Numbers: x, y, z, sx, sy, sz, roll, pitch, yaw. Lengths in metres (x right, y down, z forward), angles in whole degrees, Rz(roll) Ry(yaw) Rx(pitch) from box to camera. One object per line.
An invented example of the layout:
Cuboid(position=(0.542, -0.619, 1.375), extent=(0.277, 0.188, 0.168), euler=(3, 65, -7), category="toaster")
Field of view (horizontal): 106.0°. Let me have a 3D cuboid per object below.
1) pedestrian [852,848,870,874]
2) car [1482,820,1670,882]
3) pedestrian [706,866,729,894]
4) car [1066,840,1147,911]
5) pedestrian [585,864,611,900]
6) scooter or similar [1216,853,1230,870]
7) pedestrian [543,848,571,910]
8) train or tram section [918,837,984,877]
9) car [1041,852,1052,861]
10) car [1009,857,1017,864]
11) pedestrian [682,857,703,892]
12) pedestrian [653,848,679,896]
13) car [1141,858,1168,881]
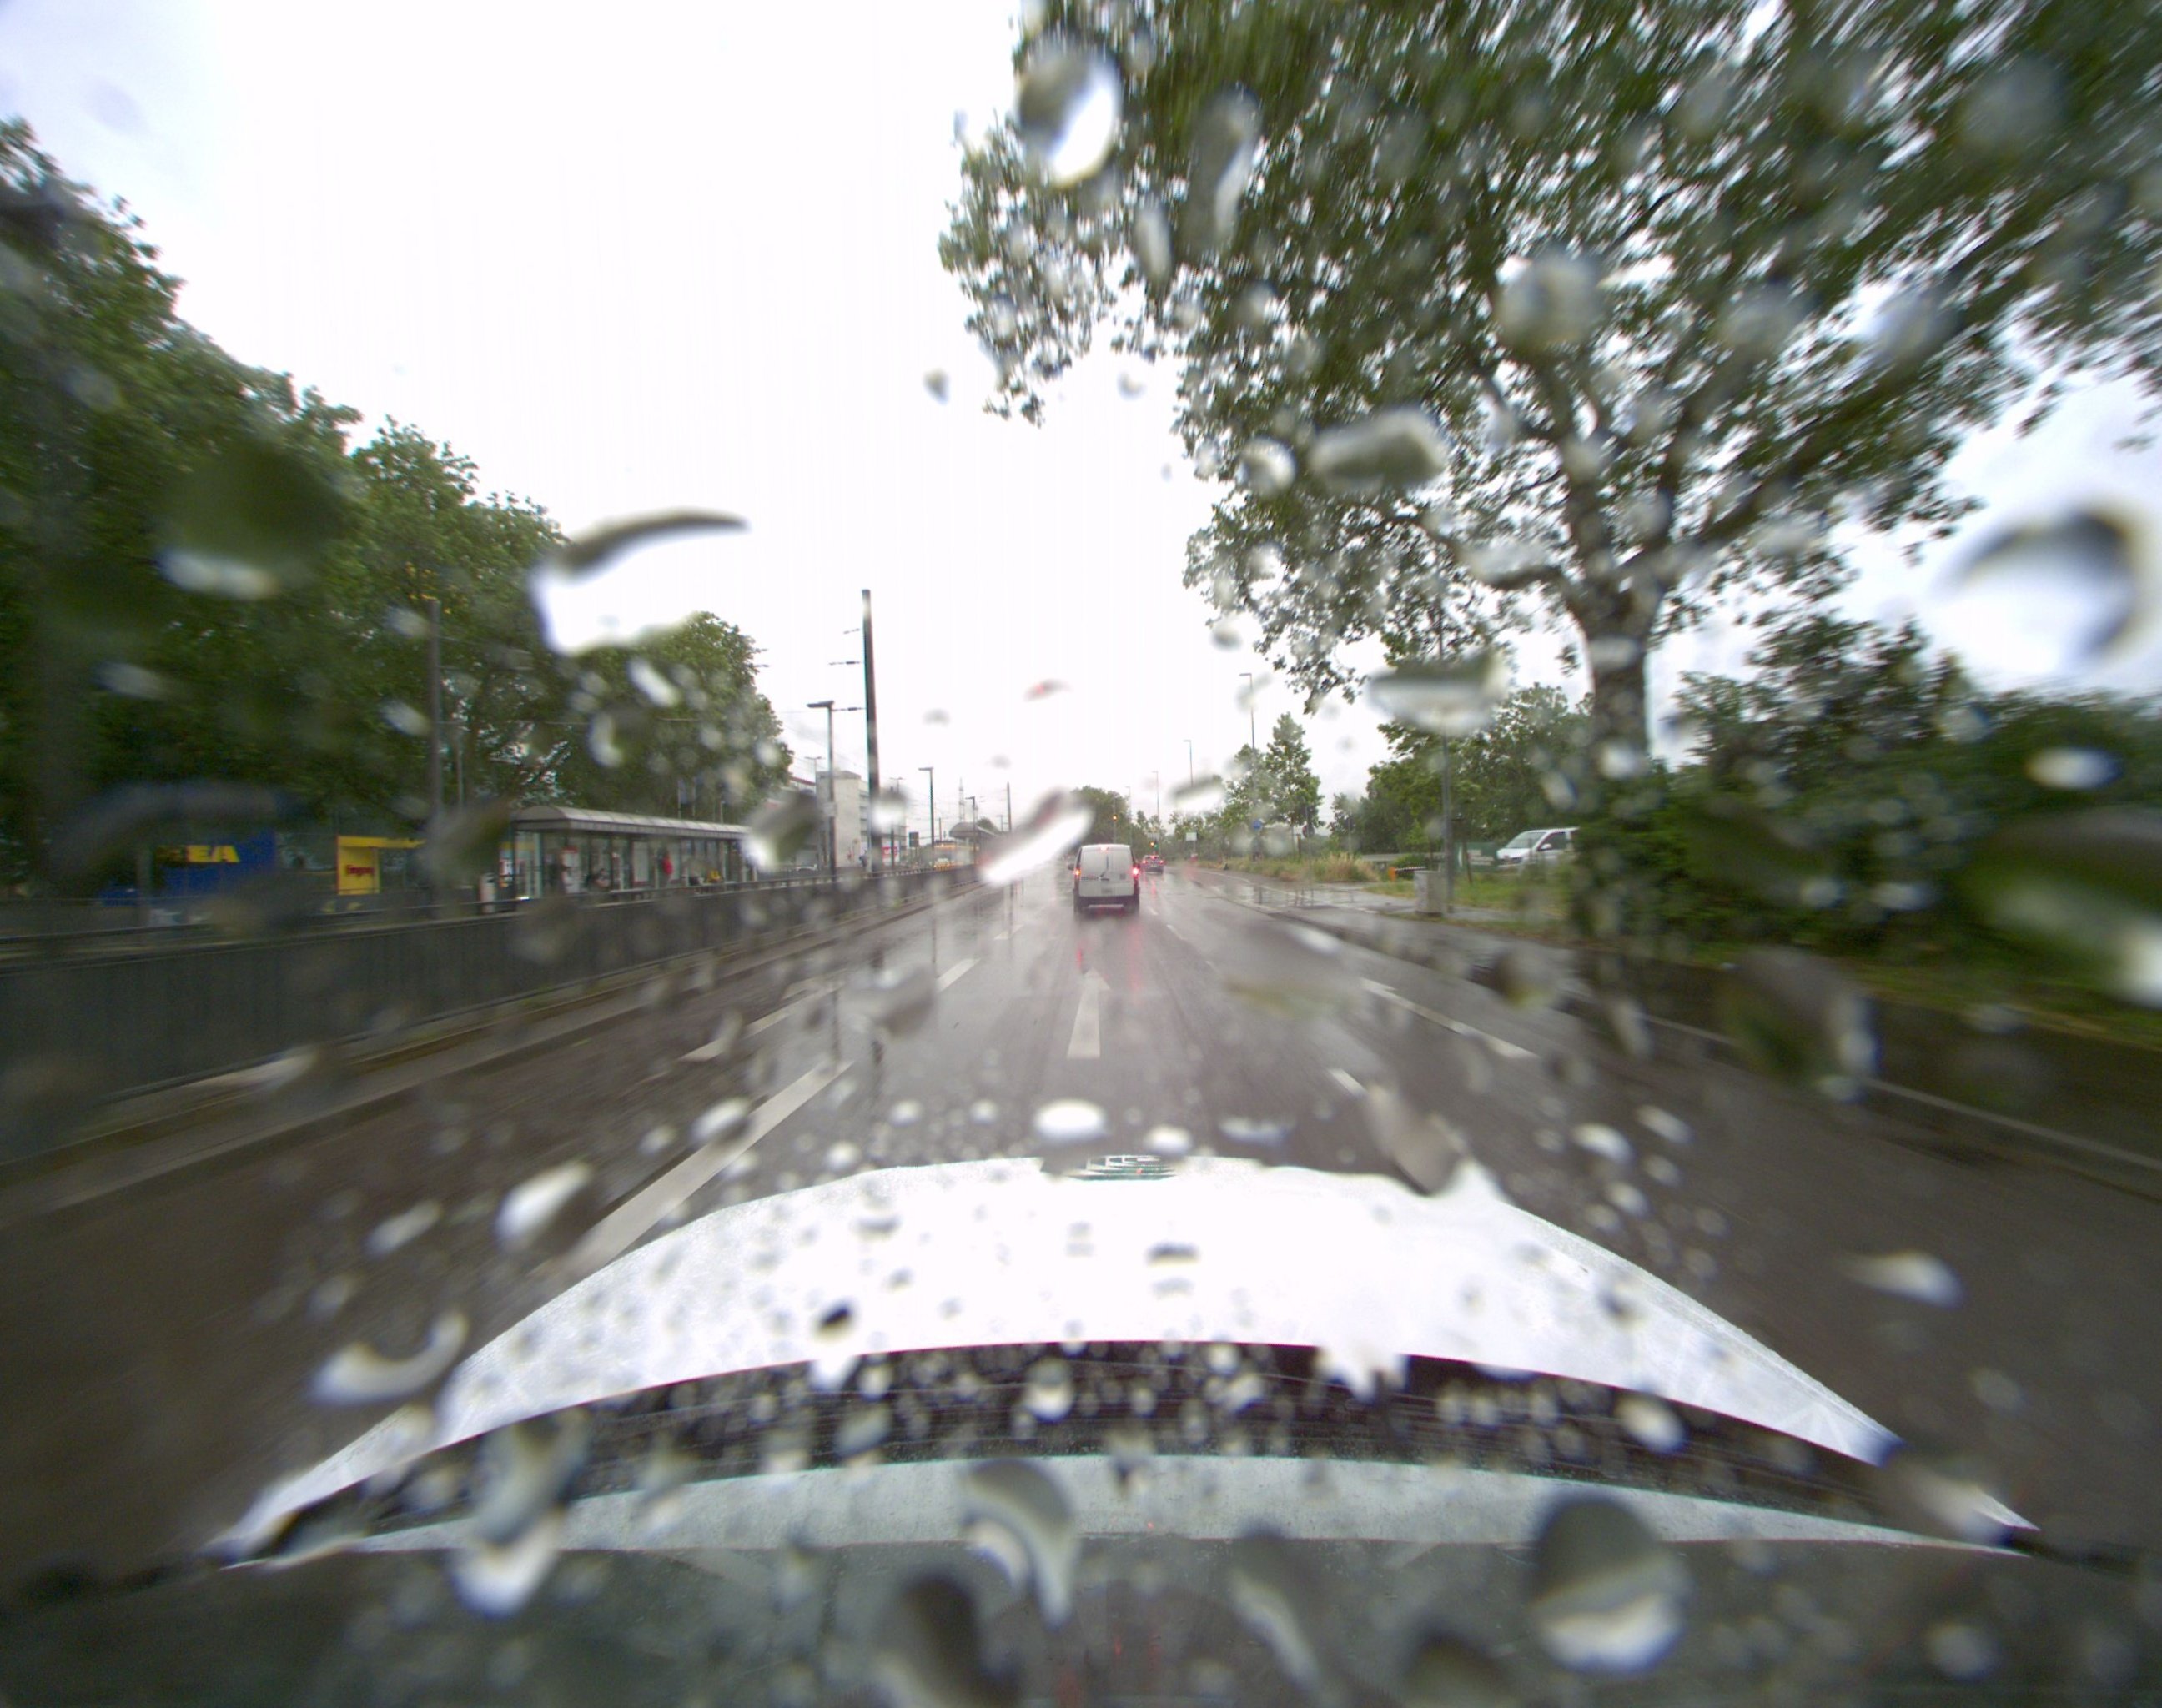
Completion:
Cuboid(position=(-17.529, 0.544, 64.904), extent=(1.083, 2.014, 1.097), euler=(0, -1, 3), category="pedestrian")
Cuboid(position=(16.598, -0.085, 27.464), extent=(5.237, 2.014, 1.998), euler=(0, -1, -3), category="car")
Cuboid(position=(-17.267, 1.209, 38.707), extent=(0.640, 1.303, 0.815), euler=(0, -1, 5), category="pedestrian")
Cuboid(position=(0.611, 0.556, 22.650), extent=(2.019, 1.775, 4.271), euler=(0, 0, -1), category="car")
Cuboid(position=(-17.136, 0.982, 28.923), extent=(0.491, 1.267, 0.665), euler=(0, -1, 5), category="pedestrian")
Cuboid(position=(10.397, 0.540, 59.741), extent=(0.641, 1.195, 1.562), euler=(-2, 0, -1), category="scooter or similar")
Cuboid(position=(-17.162, 0.824, 26.680), extent=(0.491, 2.014, 0.583), euler=(0, -1, 1), category="pedestrian")
Cuboid(position=(-14.854, 0.356, 96.392), extent=(3.759, 4.036, 27.080), euler=(0, 0, -1), category="train or tram section")
Cuboid(position=(-6.877, 0.456, 162.686), extent=(1.990, 1.750, 3.993), euler=(0, 0, -5), category="car")
Cuboid(position=(-21.622, 2.067, 257.550), extent=(1.985, 2.014, 4.003), euler=(0, 0, 3), category="car")
Cuboid(position=(-17.317, 0.901, 36.298), extent=(0.829, 1.561, 0.667), euler=(0, -1, -25), category="pedestrian")
Cuboid(position=(-16.875, 0.721, 33.122), extent=(0.618, 1.933, 0.815), euler=(0, -1, 5), category="pedestrian")
Cuboid(position=(5.755, 1.172, 63.776), extent=(1.985, 1.750, 4.003), euler=(0, 0, 3), category="car")
